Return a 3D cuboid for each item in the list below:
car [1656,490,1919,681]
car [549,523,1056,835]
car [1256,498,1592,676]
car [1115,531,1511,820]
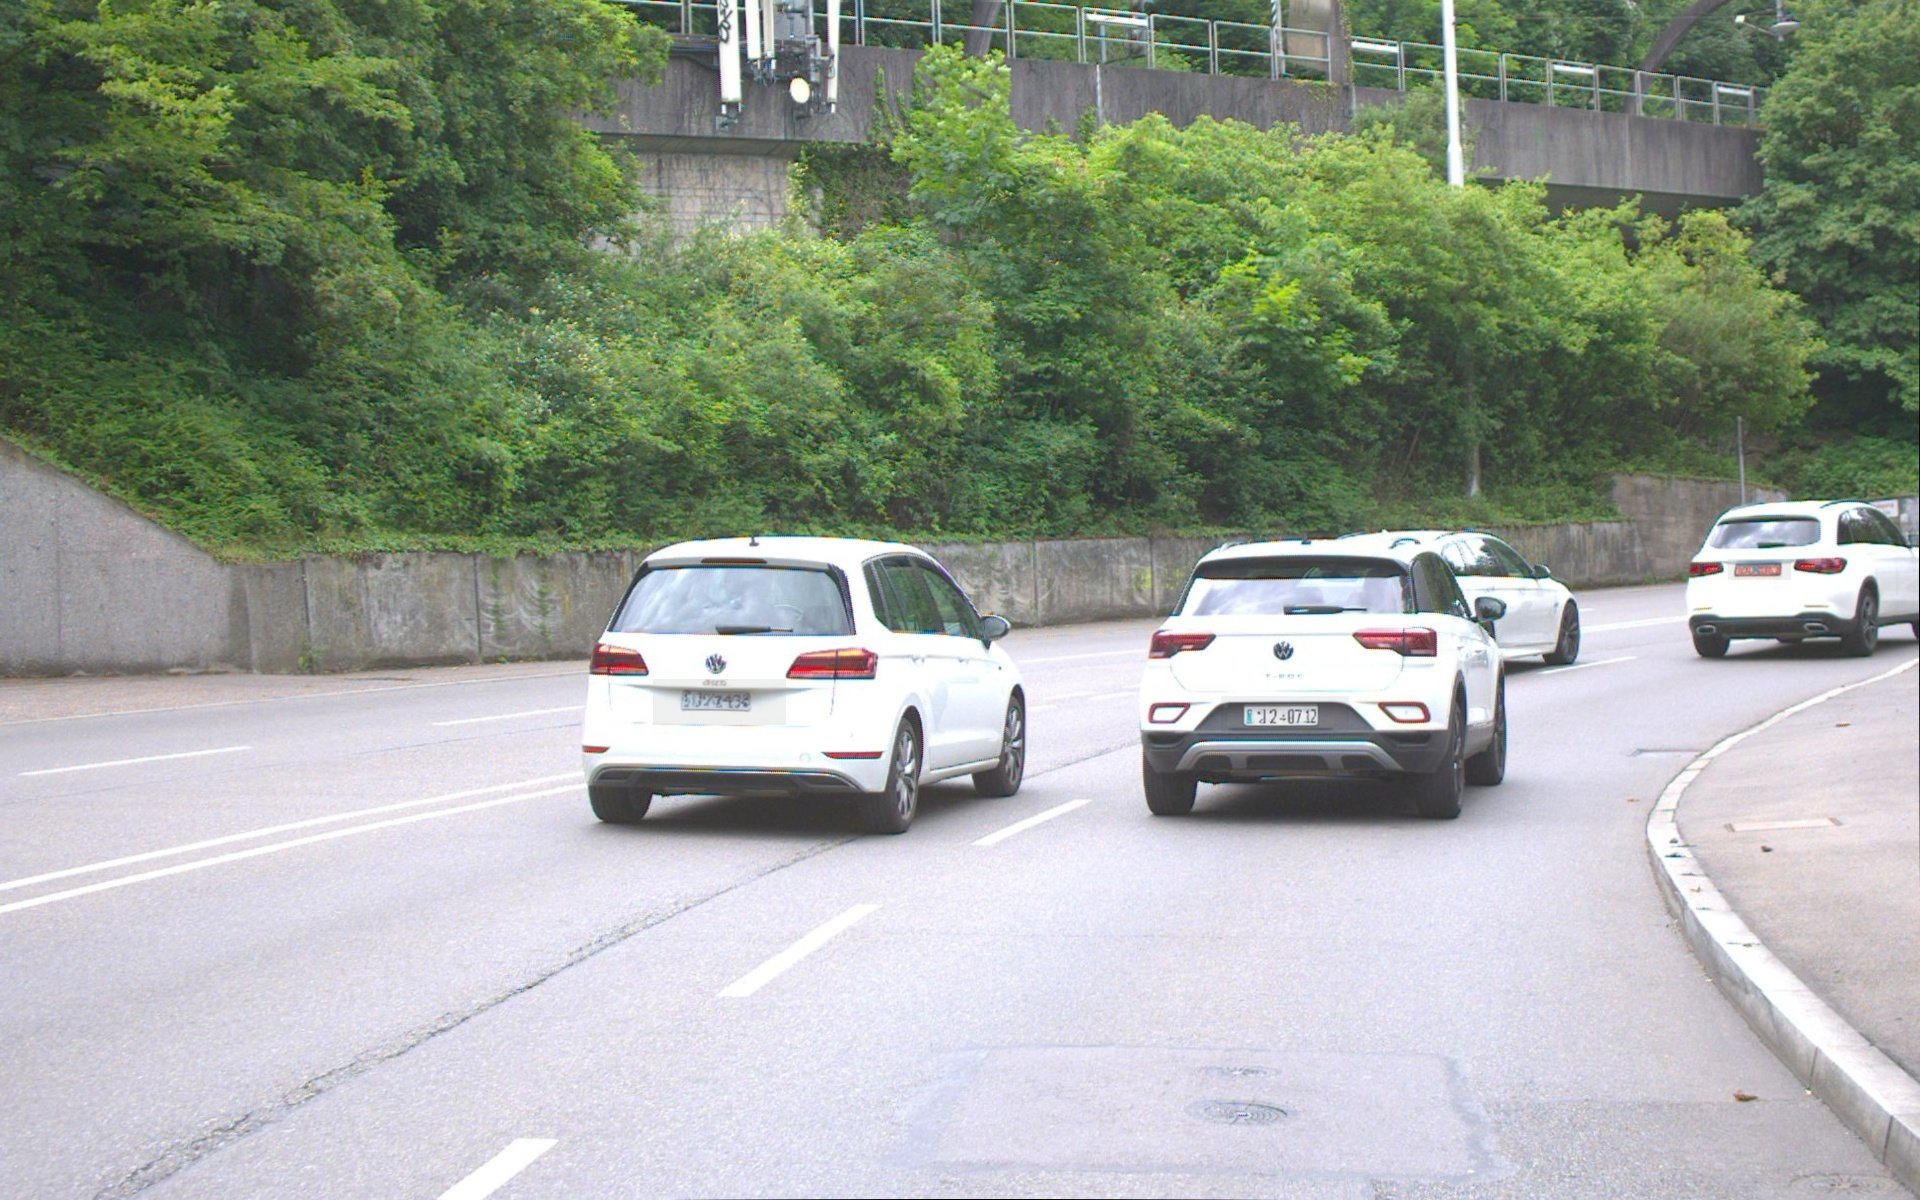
[{"bbox_3d":[9.217,-0.116,37.476,1.997,1.837,4.143,1,-2,29],"label":"car"},{"bbox_3d":[-0.765,0.441,19.713,1.721,1.549,4.272,1,-1,14],"label":"car"},{"bbox_3d":[4.810,-0.195,35.045,1.996,1.552,4.675,3,4,26],"label":"car"},{"bbox_3d":[2.197,0.437,20.450,1.815,1.534,4.006,0,-1,14],"label":"car"}]
